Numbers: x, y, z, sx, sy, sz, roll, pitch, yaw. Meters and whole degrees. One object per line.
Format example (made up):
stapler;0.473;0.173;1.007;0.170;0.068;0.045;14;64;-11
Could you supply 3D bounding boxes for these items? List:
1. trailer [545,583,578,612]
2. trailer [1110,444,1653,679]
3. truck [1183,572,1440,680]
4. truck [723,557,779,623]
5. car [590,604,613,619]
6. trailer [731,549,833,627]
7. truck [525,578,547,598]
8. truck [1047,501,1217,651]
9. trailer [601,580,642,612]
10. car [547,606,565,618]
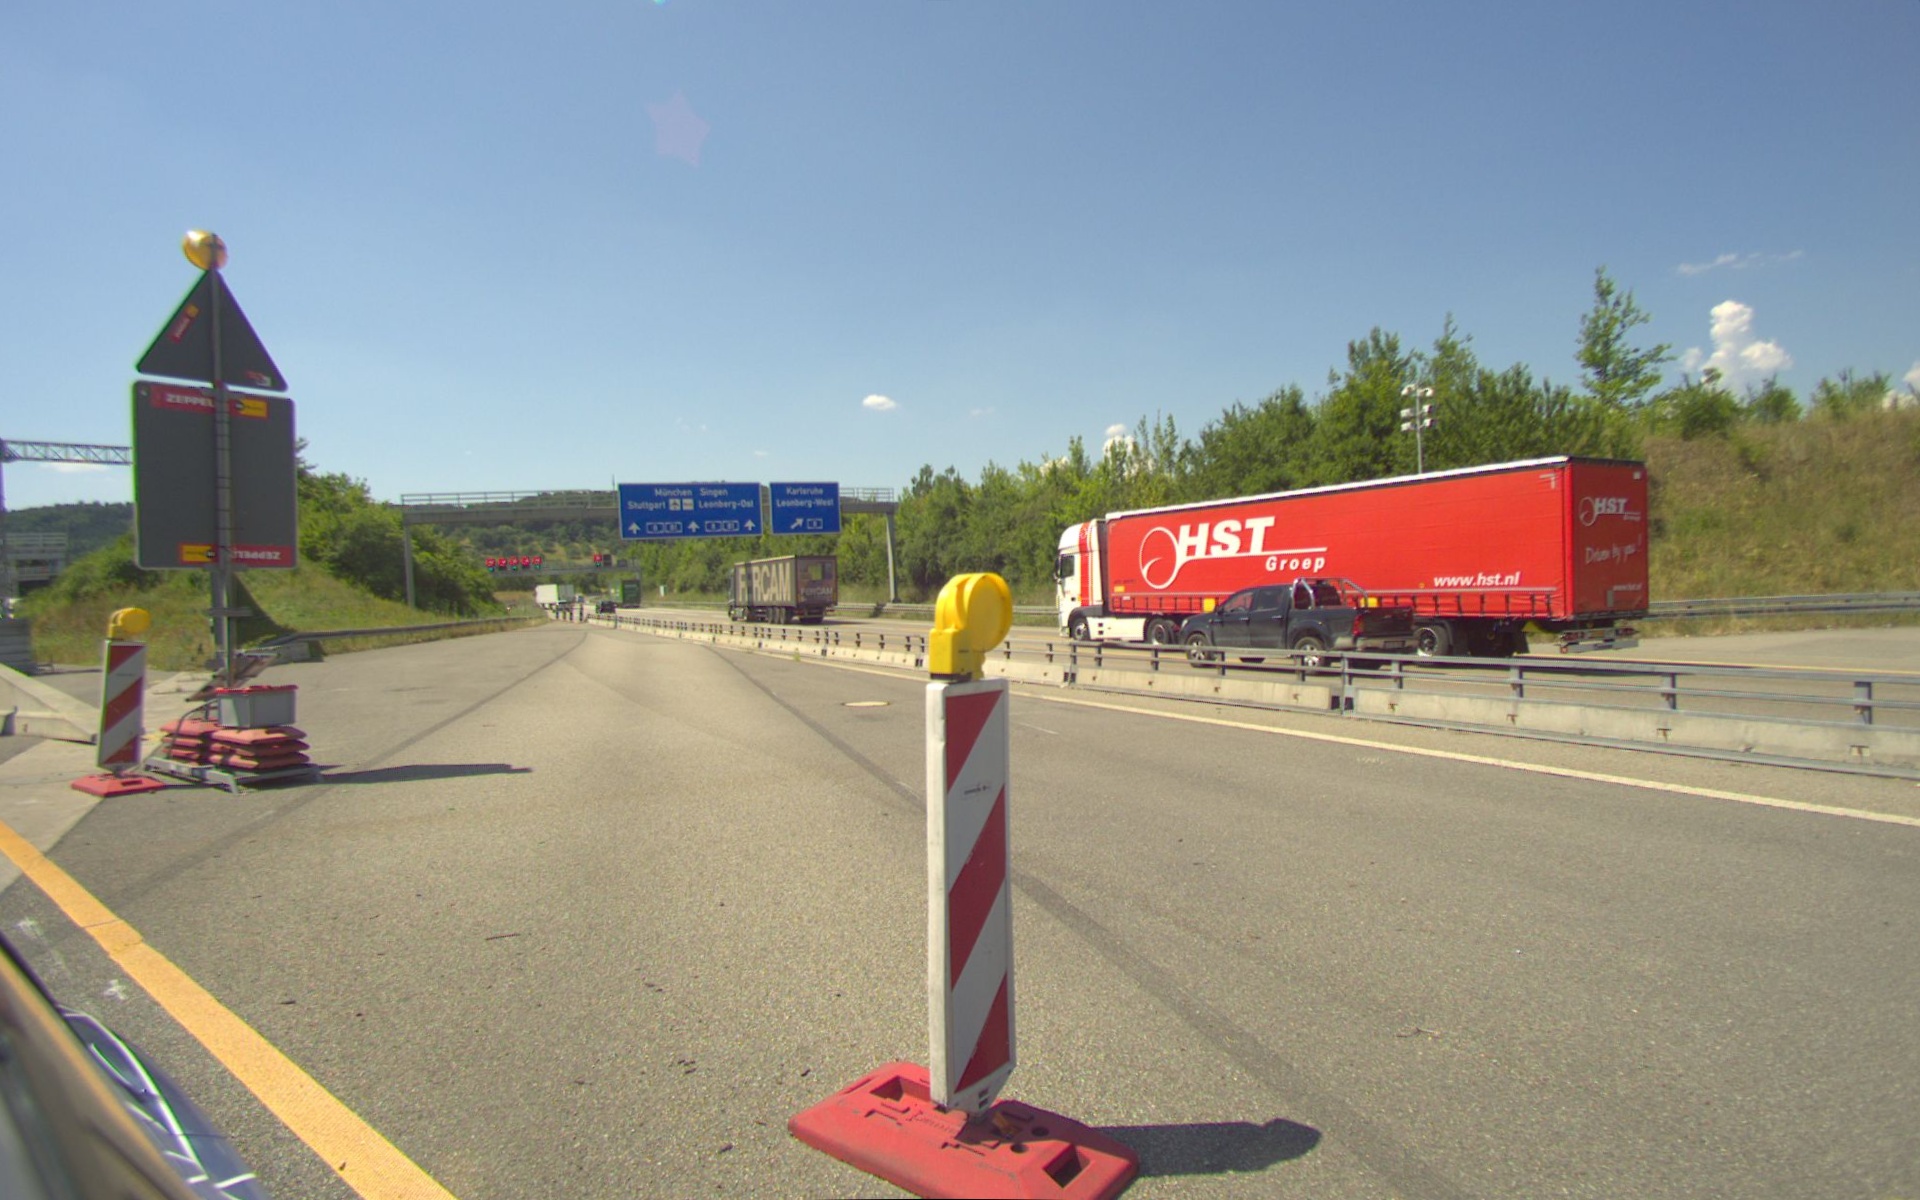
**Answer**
trailer;-64.060;-0.409;162.536;3.497;4.301;13.954;-4;2;-27
trailer;8.645;-0.703;24.145;2.305;4.133;13.303;-2;1;-29
truck;6.975;0.503;20.651;1.966;1.887;4.776;-2;0;-30
truck;-14.397;-0.668;69.444;2.397;4.301;4.854;-3;1;-27
car;-40.394;1.293;113.859;1.692;1.502;3.699;-3;1;-31
trailer;-11.446;-0.670;63.447;2.401;4.328;13.854;-3;1;-26
truck;-99.240;-2.797;236.852;3.497;4.301;13.954;-4;2;-27
truck;5.077;-0.698;30.630;2.302;4.138;5.033;-2;1;-29
trailer;-49.973;-0.695;149.069;3.497;4.301;13.954;-4;2;-27
car;-56.919;1.648;142.440;1.692;1.635;4.183;-3;2;-30
